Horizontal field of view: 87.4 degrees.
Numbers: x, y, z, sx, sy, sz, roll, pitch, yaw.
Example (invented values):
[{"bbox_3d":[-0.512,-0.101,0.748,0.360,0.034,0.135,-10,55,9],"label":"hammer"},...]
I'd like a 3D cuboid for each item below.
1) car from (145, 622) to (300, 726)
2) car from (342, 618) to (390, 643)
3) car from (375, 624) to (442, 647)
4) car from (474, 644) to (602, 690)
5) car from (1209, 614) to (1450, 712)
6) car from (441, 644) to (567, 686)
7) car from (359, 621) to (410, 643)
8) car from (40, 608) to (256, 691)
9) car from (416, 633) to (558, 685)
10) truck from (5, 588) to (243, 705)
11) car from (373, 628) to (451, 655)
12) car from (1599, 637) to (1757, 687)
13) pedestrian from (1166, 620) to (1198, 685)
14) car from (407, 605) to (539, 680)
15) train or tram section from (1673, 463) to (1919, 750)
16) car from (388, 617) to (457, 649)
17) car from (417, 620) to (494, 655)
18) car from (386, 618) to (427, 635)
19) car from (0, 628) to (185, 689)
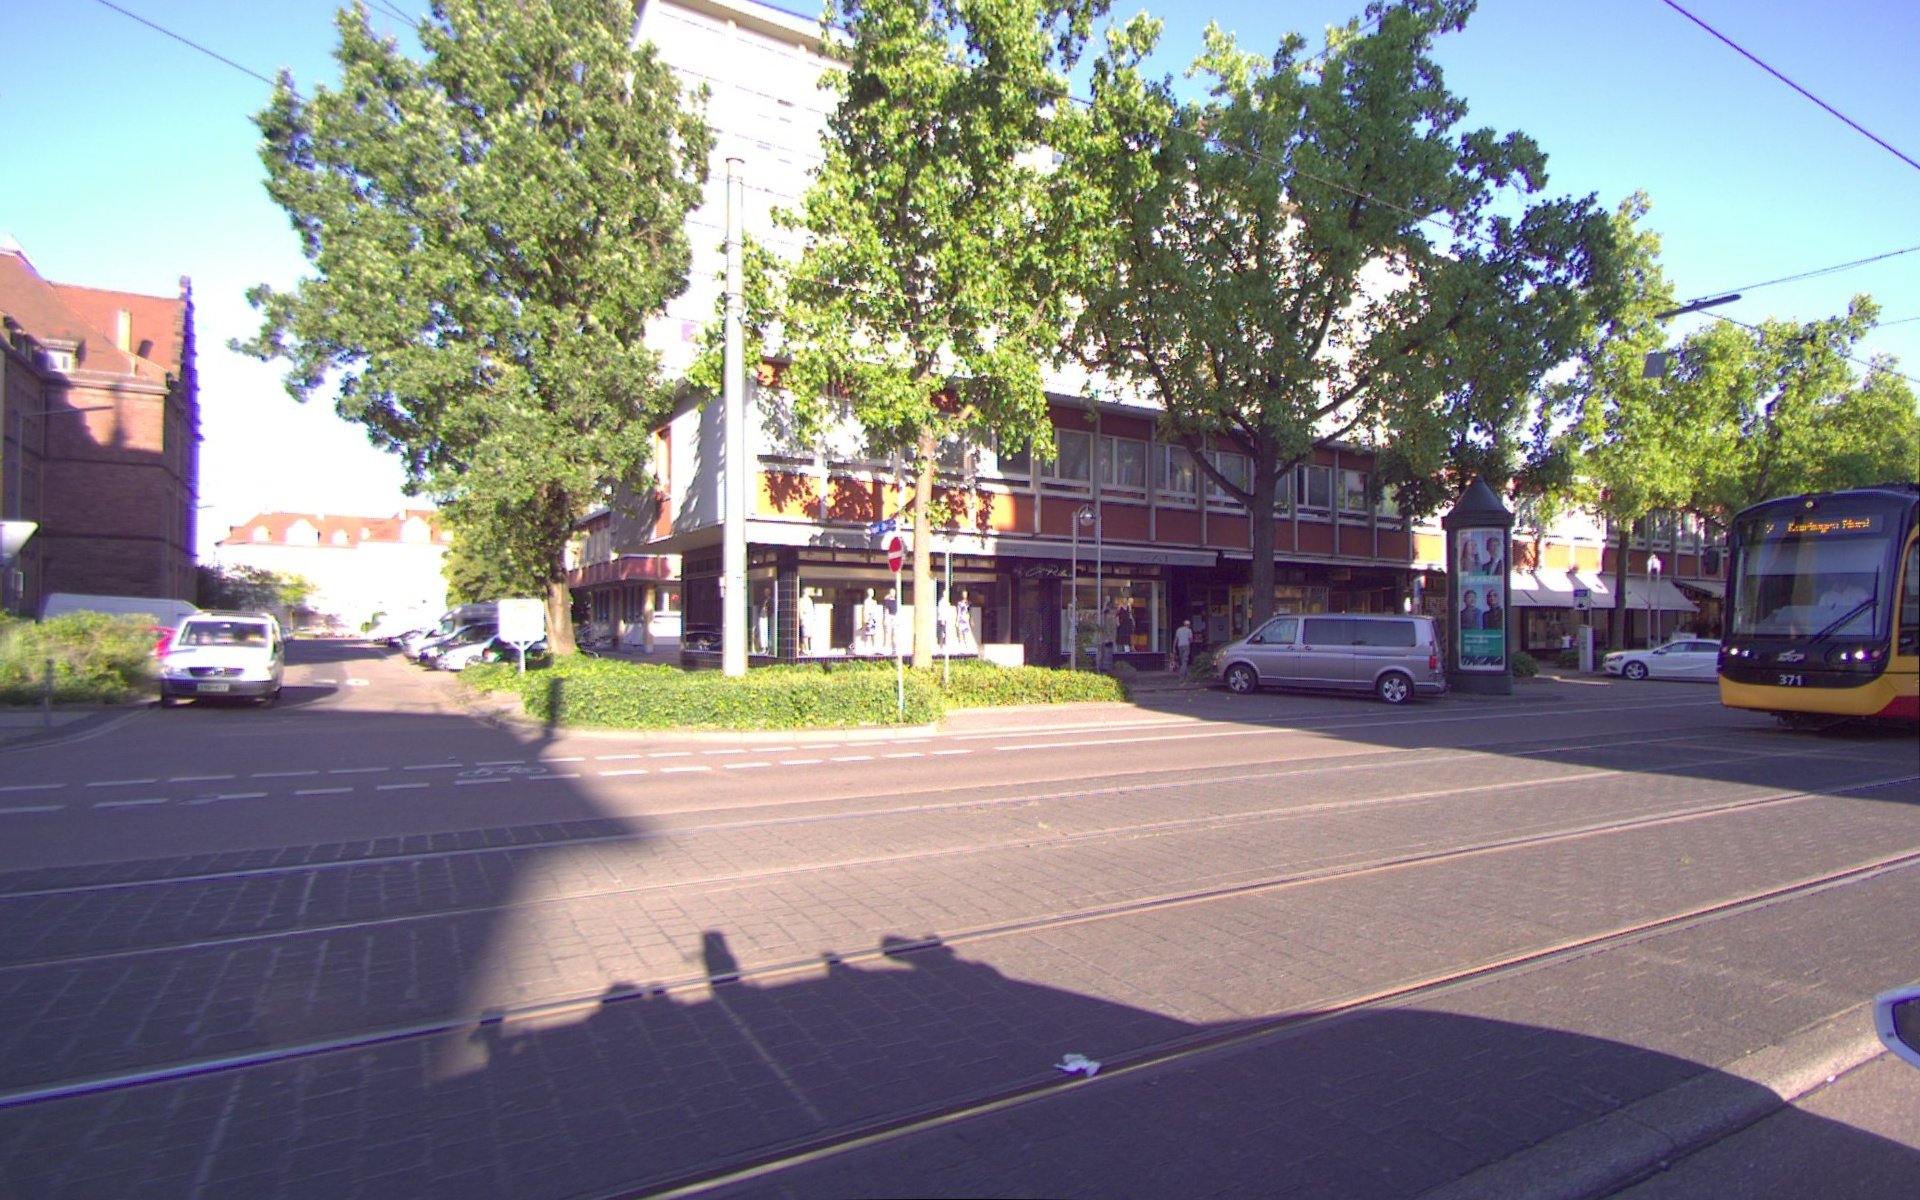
[{"bbox_3d":[-15.837,1.541,21.857,2.108,1.993,4.954,4,-4,-30],"label":"car"},{"bbox_3d":[-82.447,4.286,139.472,5.570,3.399,2.414,3,-3,-33],"label":"car"},{"bbox_3d":[-64.865,4.193,118.121,6.676,2.652,2.550,1,-2,-34],"label":"car"},{"bbox_3d":[-15.364,2.401,36.626,4.054,1.598,2.021,1,-3,-31],"label":"car"},{"bbox_3d":[8.573,1.388,23.454,5.030,1.954,1.851,1,-1,30],"label":"car"},{"bbox_3d":[-18.339,2.575,40.451,4.412,1.598,2.035,1,-3,-31],"label":"car"},{"bbox_3d":[-79.230,4.480,138.371,5.985,2.880,2.552,3,-3,-33],"label":"car"},{"bbox_3d":[-26.776,1.611,33.414,5.355,2.576,1.840,1,-2,-32],"label":"car"},{"bbox_3d":[-19.790,2.433,42.144,5.212,2.072,2.035,1,-3,-31],"label":"car"},{"bbox_3d":[-21.366,1.164,25.951,4.484,2.799,1.839,1,-2,-34],"label":"truck"},{"bbox_3d":[-56.737,4.291,104.059,6.899,2.652,2.550,1,-2,-34],"label":"car"},{"bbox_3d":[24.206,2.063,34.064,4.194,1.448,1.763,1,0,31],"label":"car"},{"bbox_3d":[6.581,1.553,29.830,0.900,1.902,0.901,0,-1,10],"label":"pedestrian"},{"bbox_3d":[-23.589,2.097,48.749,5.568,3.455,2.126,2,-3,-31],"label":"car"},{"bbox_3d":[16.665,0.255,16.860,12.319,3.597,2.746,1,-2,-30],"label":"train or tram section"},{"bbox_3d":[-47.900,2.973,89.539,5.239,2.652,2.124,3,-3,-32],"label":"car"},{"bbox_3d":[-39.990,2.974,79.660,5.239,2.652,2.124,3,-3,-32],"label":"car"},{"bbox_3d":[-68.584,3.298,124.504,4.274,2.040,1.983,2,-3,-32],"label":"car"},{"bbox_3d":[-24.317,1.568,27.718,4.484,1.594,1.839,1,-2,-34],"label":"car"}]
